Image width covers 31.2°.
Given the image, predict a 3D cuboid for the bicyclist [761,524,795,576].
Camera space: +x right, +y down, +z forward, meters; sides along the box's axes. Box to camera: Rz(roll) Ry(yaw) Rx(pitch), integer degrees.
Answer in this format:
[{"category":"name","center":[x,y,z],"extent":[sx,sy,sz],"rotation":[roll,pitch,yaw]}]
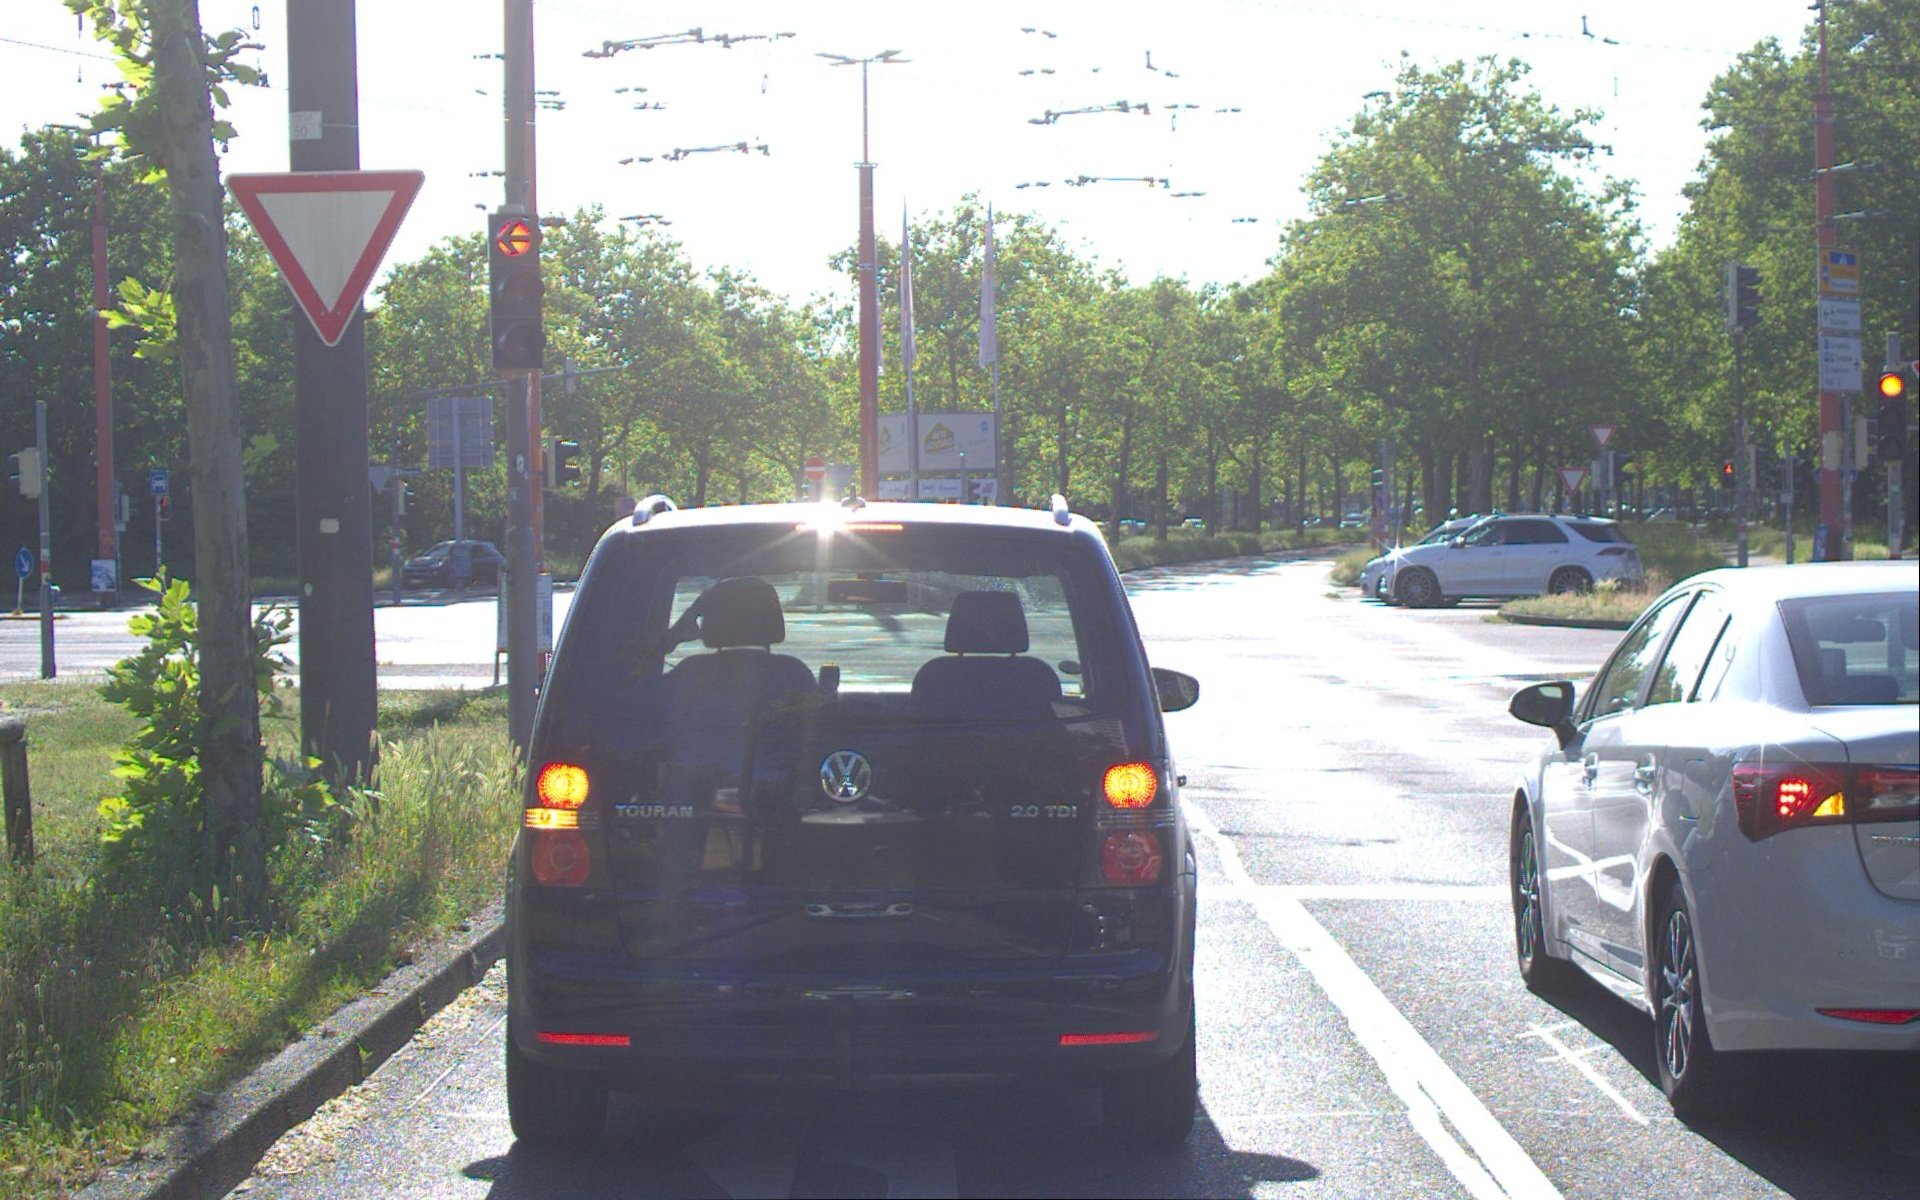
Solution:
[{"category":"bicyclist","center":[-6.611,-1.812,124.841],"extent":[0.977,1.897,1.050],"rotation":[0,1,12]}]

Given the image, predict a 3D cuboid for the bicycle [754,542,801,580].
[{"category":"bicycle","center":[-6.617,-1.428,124.806],"extent":[0.977,1.384,2.978],"rotation":[0,1,12]}]

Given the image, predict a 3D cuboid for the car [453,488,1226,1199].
[{"category":"car","center":[-0.257,0.535,9.981],"extent":[1.738,1.597,4.326],"rotation":[1,1,1]}]

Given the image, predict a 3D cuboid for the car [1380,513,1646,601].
[{"category":"car","center":[10.438,-0.826,64.963],"extent":[4.666,1.620,1.654],"rotation":[1,1,26]}]

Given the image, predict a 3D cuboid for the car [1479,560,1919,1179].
[{"category":"car","center":[2.754,0.616,10.160],"extent":[1.799,1.435,4.326],"rotation":[1,1,1]}]

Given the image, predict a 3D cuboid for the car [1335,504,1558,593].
[{"category":"car","center":[9.767,-1.050,69.019],"extent":[4.124,1.744,1.654],"rotation":[1,1,25]}]

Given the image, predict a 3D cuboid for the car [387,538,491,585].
[{"category":"car","center":[-15.849,-1.197,104.771],"extent":[1.652,1.398,4.130],"rotation":[0,1,14]}]
